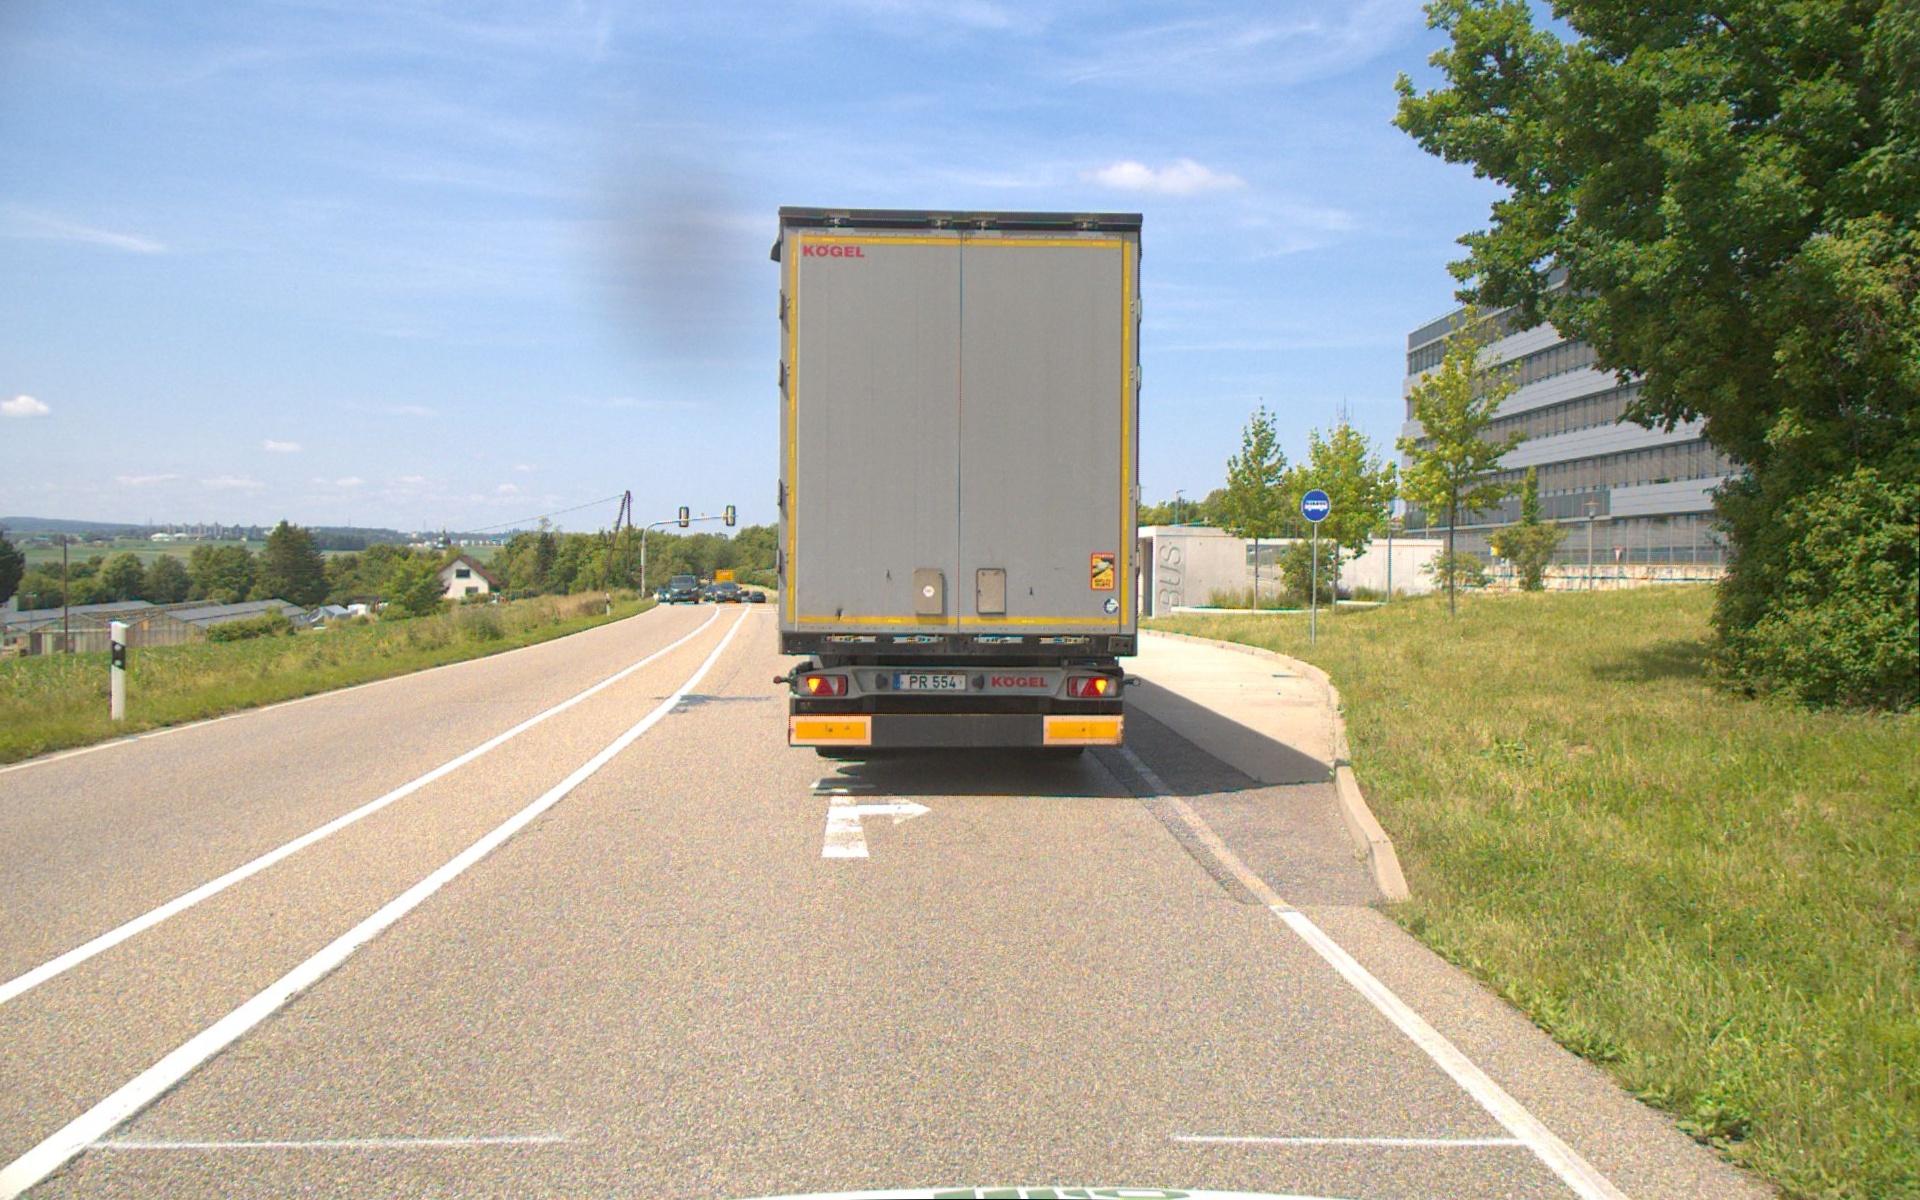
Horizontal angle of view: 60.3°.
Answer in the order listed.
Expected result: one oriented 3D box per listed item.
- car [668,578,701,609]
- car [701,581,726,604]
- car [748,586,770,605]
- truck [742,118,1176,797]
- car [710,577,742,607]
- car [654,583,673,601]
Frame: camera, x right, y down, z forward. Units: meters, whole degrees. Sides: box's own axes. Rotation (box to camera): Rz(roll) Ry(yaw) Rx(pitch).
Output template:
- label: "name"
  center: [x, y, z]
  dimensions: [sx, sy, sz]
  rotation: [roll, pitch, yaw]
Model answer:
- label: "car"
  center: [-19.205, -0.494, 115.461]
  dimensions: [1.956, 2.013, 5.271]
  rotation: [-2, 1, -7]
- label: "car"
  center: [-21.764, -0.677, 146.168]
  dimensions: [1.955, 1.847, 4.291]
  rotation: [-2, 1, -6]
- label: "car"
  center: [-21.968, -0.506, 180.989]
  dimensions: [2.129, 2.048, 4.522]
  rotation: [-2, 1, -5]
- label: "truck"
  center: [-0.189, -0.997, 15.487]
  dimensions: [2.849, 4.486, 8.856]
  rotation: [1, 1, -3]
- label: "car"
  center: [-16.412, -0.586, 116.016]
  dimensions: [1.955, 1.984, 4.498]
  rotation: [-2, 1, -5]
- label: "car"
  center: [-32.520, -0.884, 181.390]
  dimensions: [1.957, 1.819, 3.991]
  rotation: [-2, 1, -9]
